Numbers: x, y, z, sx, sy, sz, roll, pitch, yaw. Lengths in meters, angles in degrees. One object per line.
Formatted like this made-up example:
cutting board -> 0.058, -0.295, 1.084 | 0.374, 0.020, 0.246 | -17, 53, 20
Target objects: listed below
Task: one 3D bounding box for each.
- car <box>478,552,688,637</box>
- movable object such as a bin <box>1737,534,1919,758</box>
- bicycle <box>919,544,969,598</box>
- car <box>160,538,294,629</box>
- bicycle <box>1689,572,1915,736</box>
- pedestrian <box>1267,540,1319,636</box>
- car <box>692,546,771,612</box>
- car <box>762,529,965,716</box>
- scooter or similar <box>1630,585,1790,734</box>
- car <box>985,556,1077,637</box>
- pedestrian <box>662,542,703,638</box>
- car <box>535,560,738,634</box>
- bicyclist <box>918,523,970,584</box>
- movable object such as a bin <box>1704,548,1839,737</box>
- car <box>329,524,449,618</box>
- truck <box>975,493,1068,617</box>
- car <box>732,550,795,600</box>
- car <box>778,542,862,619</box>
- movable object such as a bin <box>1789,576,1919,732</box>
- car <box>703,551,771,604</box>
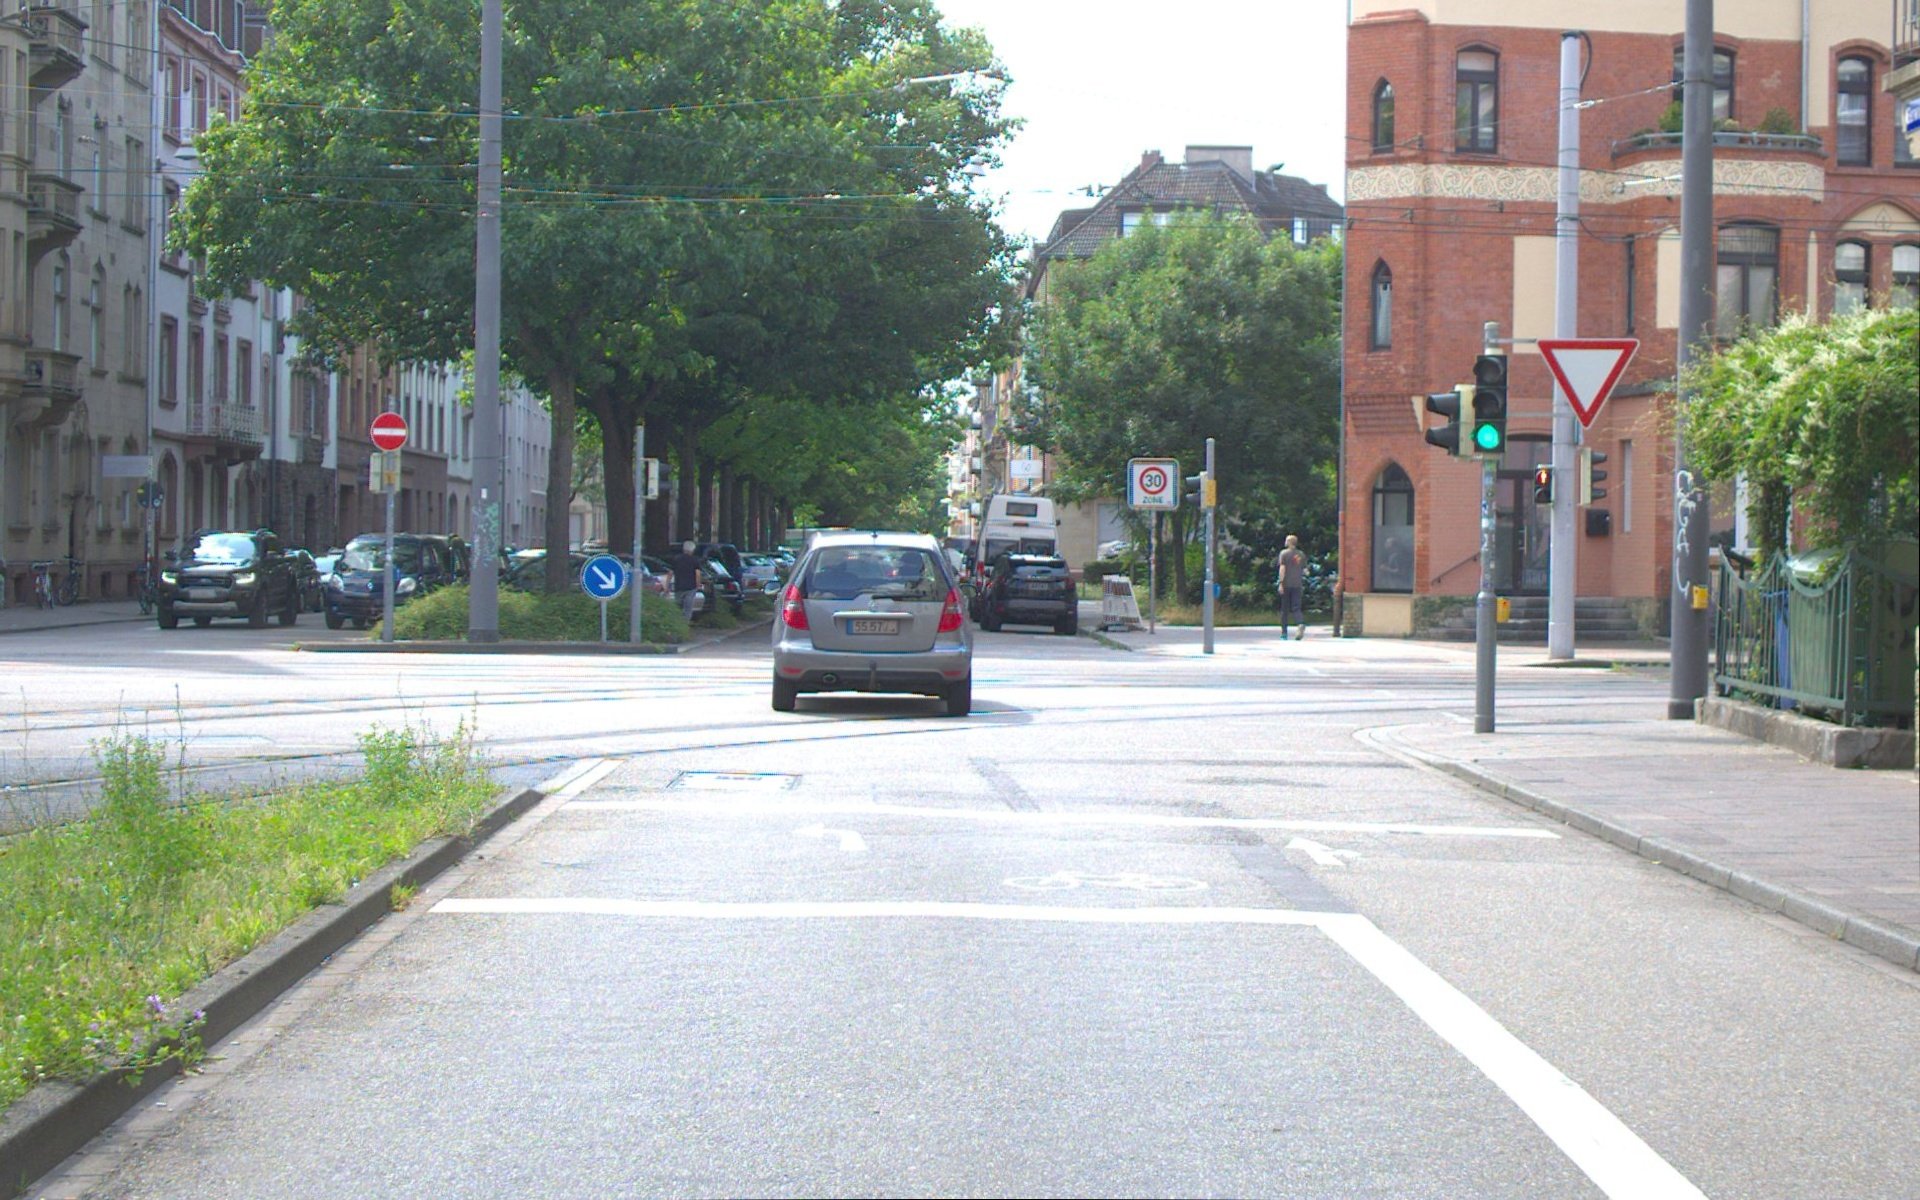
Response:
car -> -7.025, -0.117, 63.796 | 1.969, 1.489, 3.999 | 0, 1, -40
movable object such as a bin -> 6.300, 0.302, 24.589 | 1.050, 1.534, 2.100 | 0, 1, 2
bicycle -> -0.282, -0.518, 61.724 | 0.749, 0.955, 2.298 | 0, 1, 3
car -> -13.511, -0.316, 63.546 | 1.993, 1.612, 4.001 | 0, 1, -6
bicycle -> 6.850, 0.435, 27.970 | 1.827, 1.324, 0.277 | 0, 0, -10
pedestrian -> 5.826, -0.210, 60.206 | 0.869, 1.651, 0.736 | 1, 1, 4
car -> -5.830, -0.558, 87.936 | 1.752, 1.627, 3.499 | 1, 1, 0
car -> -0.825, 0.170, 31.285 | 1.722, 1.600, 3.677 | 0, 1, 0
scooter or similar -> 6.165, 0.483, 28.279 | 1.193, 1.212, 0.463 | 0, 0, -7
car -> 1.505, -0.093, 71.686 | 1.752, 1.627, 3.499 | 1, 1, 3
pedestrian -> -5.010, -0.188, 62.147 | 0.652, 1.719, 0.494 | 1, 1, 3
car -> -6.279, -0.068, 66.414 | 1.969, 1.334, 3.999 | 0, 1, -40
bicyclist -> -0.286, -0.841, 61.717 | 0.836, 1.078, 1.400 | 0, 1, 3
movable object such as a bin -> 6.416, 0.329, 27.215 | 0.714, 1.467, 0.983 | 0, 0, -9
car -> -10.775, -0.553, 65.131 | 1.993, 1.722, 4.001 | 0, 1, -6
truck -> 1.536, -1.108, 84.579 | 2.123, 2.960, 4.000 | 0, 1, 3
car -> -6.198, -0.793, 108.688 | 1.752, 1.512, 3.499 | 1, 1, 0
car -> -3.161, -0.454, 78.094 | 1.722, 1.700, 3.677 | 0, 1, 0
movable object such as a bin -> 6.903, 0.405, 26.168 | 1.028, 1.170, 0.659 | 0, 0, 2
car -> -6.586, -0.680, 101.865 | 1.752, 1.512, 3.499 | 1, 1, 0
